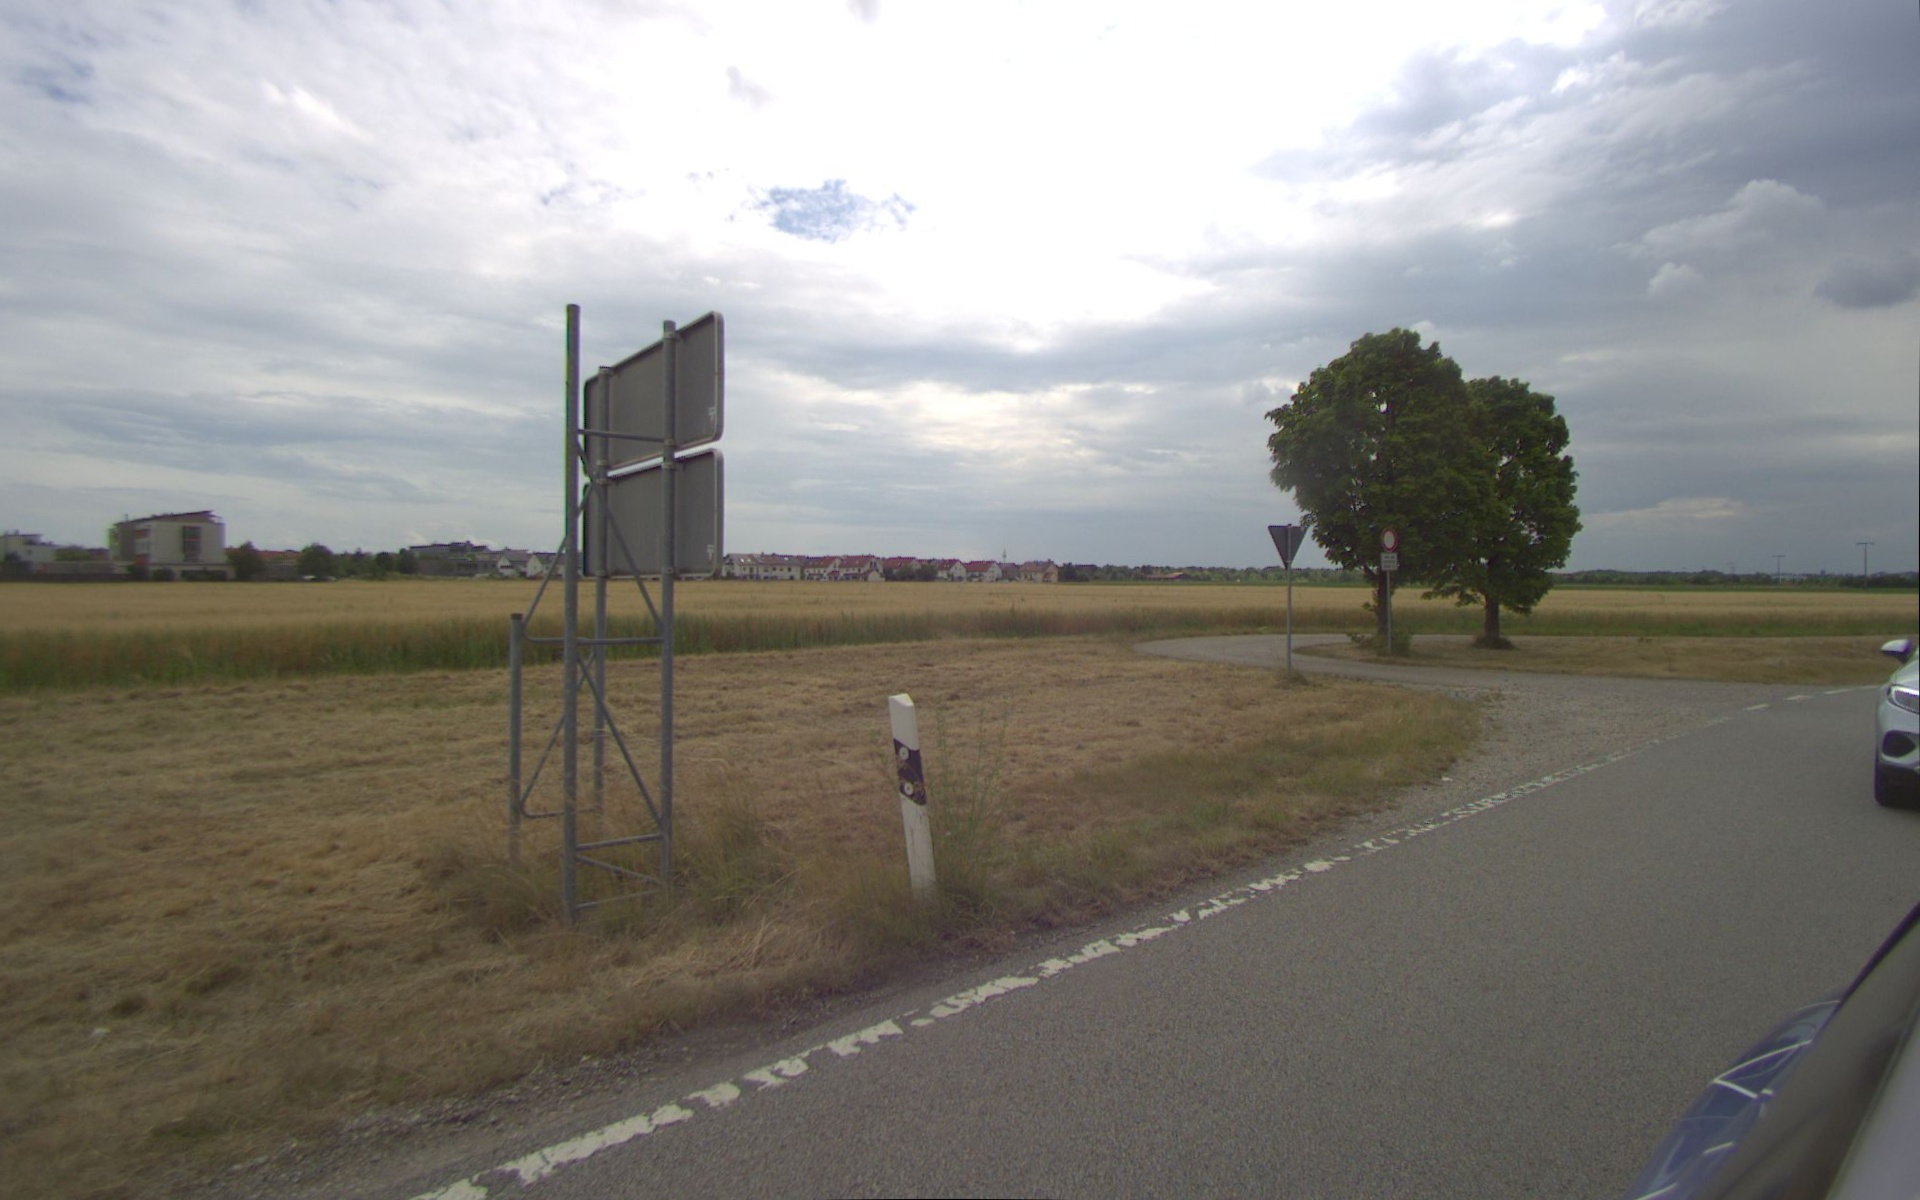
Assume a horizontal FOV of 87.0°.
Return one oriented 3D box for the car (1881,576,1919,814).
[{"bbox_3d":[8.593,0.670,7.778,4.374,1.606,1.834,0,2,-43],"label":"car"}]
